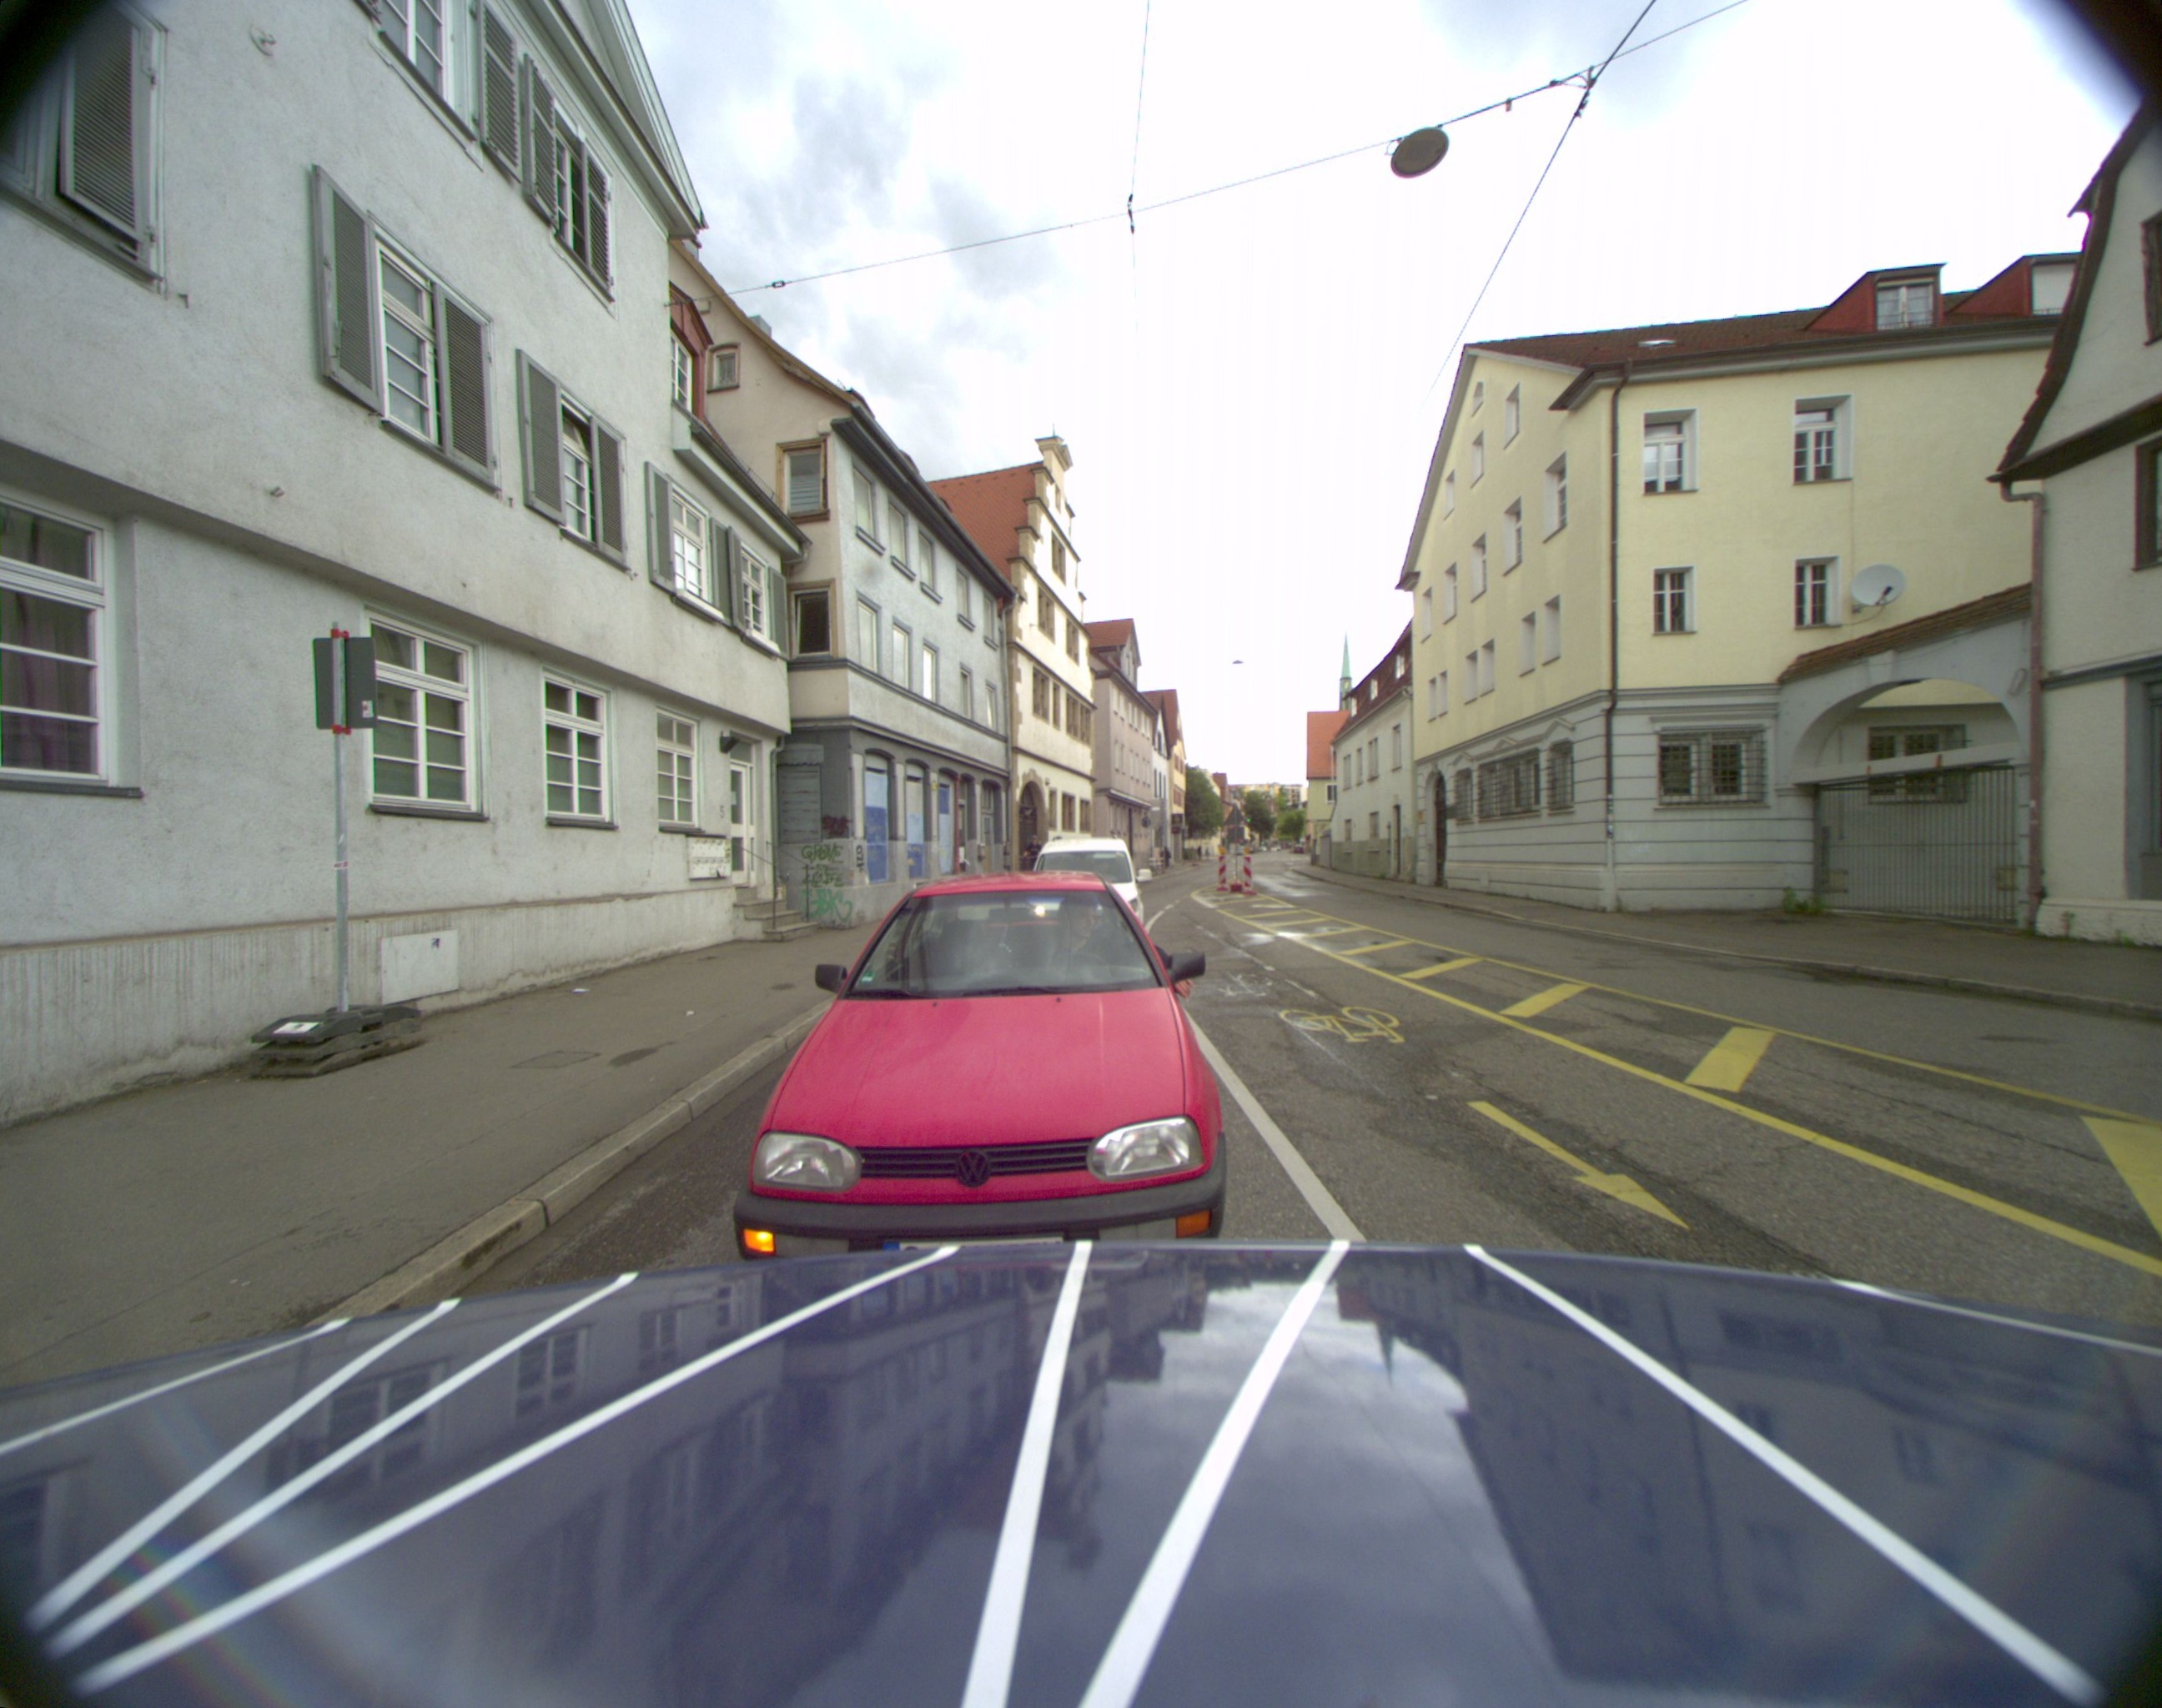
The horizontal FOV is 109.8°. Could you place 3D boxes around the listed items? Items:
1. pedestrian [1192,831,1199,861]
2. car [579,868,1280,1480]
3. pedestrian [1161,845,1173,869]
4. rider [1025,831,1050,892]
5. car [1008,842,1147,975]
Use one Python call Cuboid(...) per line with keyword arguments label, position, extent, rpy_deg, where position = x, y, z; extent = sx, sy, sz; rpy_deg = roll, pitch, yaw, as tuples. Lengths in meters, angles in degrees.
Cuboid(label="pedestrian", position=(9.607, -0.651, 63.633), extent=(0.495, 2.513, 0.746), rpy_deg=(-1, 1, 12))
Cuboid(label="car", position=(-0.282, 0.875, 3.965), extent=(1.792, 1.417, 4.000), rpy_deg=(-2, 1, 4))
Cuboid(label="pedestrian", position=(5.819, 0.180, 51.373), extent=(0.725, 1.604, 0.649), rpy_deg=(-1, 0, 12))
Cuboid(label="rider", position=(-1.328, 0.230, 23.330), extent=(0.719, 1.837, 0.797), rpy_deg=(-1, 1, 1))
Cuboid(label="car", position=(0.039, 0.692, 12.162), extent=(1.814, 1.695, 4.256), rpy_deg=(-1, 1, 2))
